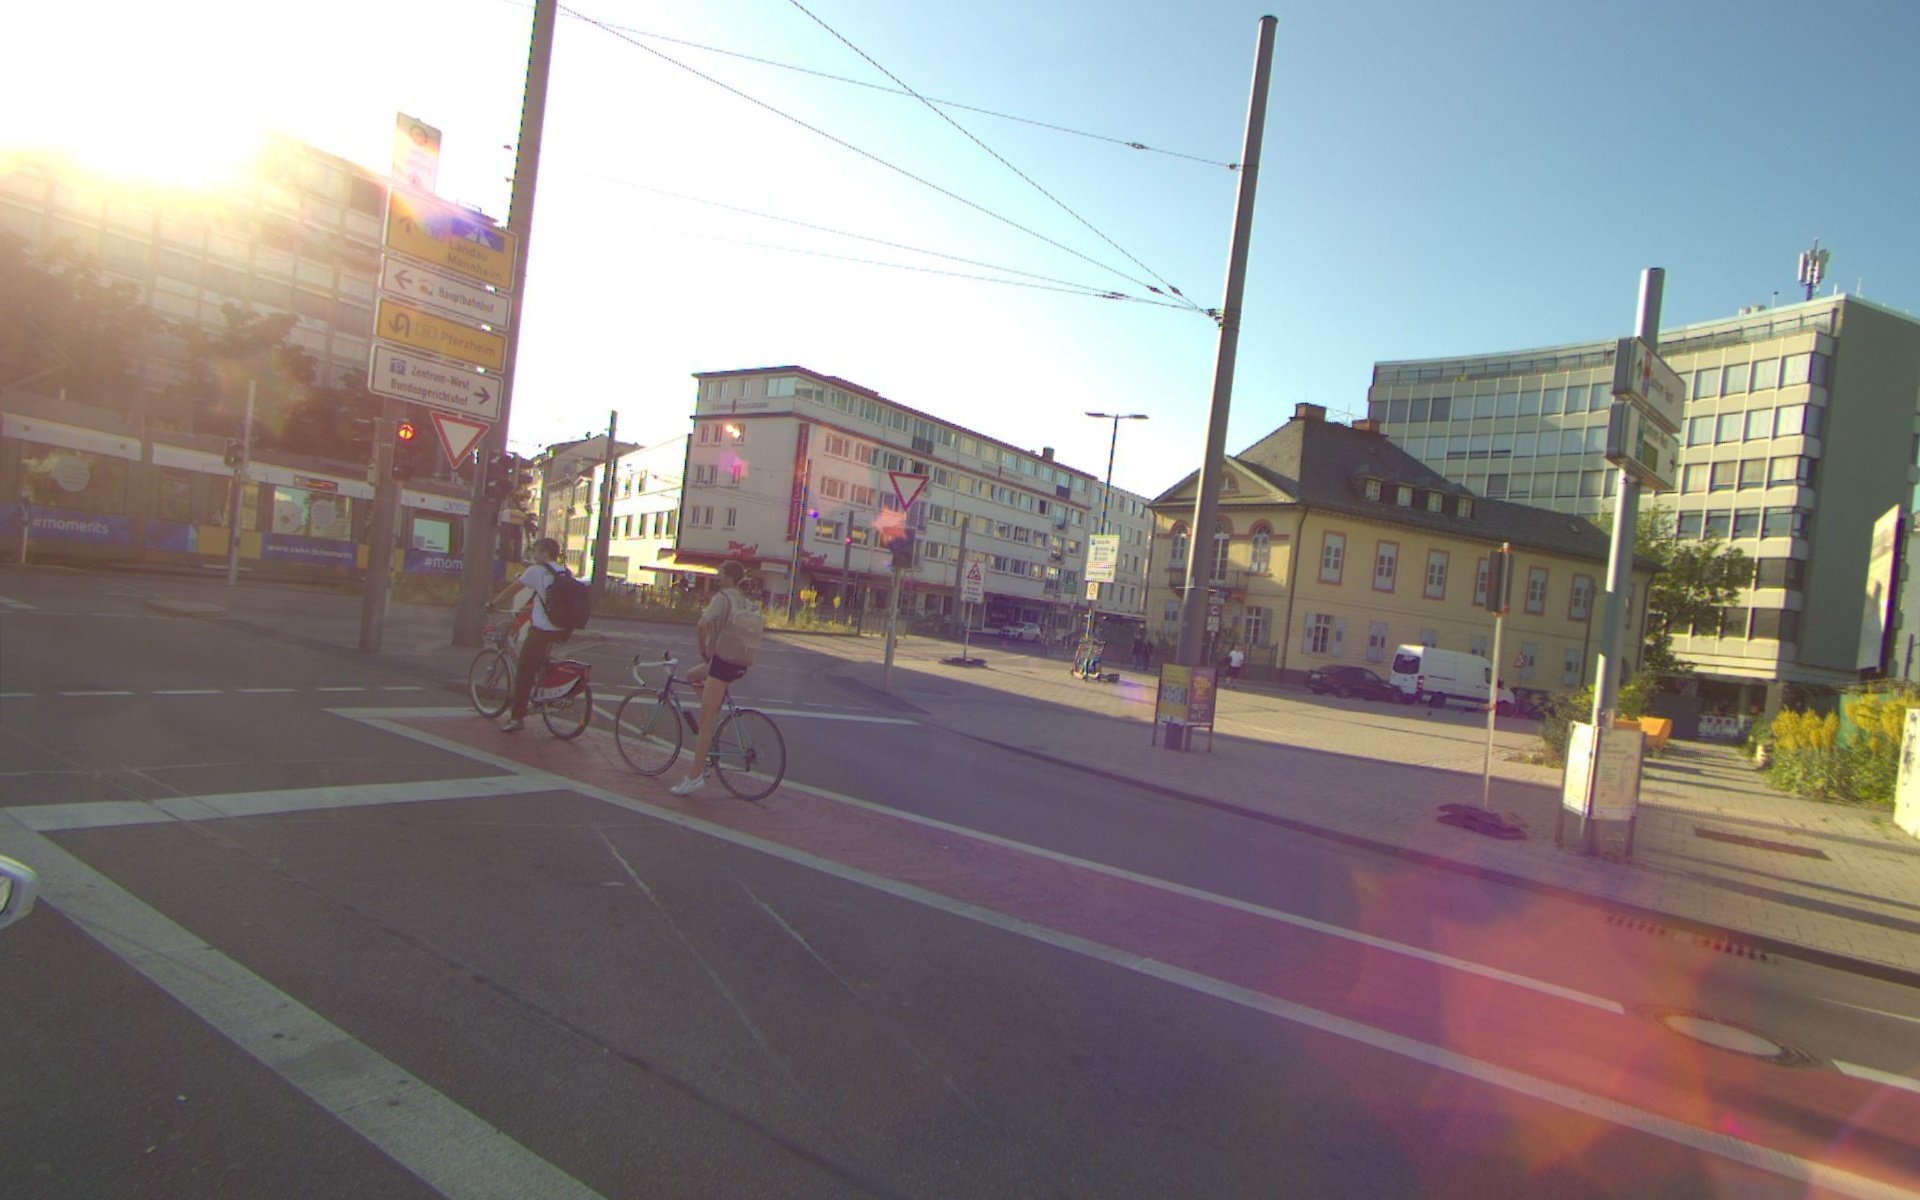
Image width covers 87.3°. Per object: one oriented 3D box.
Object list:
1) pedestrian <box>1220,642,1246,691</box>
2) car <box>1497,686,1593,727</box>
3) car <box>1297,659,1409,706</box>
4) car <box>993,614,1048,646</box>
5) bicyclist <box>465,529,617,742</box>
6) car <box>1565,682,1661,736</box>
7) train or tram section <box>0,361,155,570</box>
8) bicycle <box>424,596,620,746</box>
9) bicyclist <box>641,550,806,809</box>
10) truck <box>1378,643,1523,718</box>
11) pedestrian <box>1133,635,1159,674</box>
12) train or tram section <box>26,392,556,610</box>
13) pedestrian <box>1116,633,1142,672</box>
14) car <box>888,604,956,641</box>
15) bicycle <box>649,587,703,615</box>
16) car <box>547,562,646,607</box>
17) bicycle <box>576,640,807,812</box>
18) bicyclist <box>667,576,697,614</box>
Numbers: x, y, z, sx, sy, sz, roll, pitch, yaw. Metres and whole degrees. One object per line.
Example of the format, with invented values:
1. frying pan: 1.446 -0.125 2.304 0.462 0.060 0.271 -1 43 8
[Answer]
1. pedestrian: 10.403 2.537 38.381 0.746 1.783 1.009 7 -1 16
2. car: 27.091 4.924 46.590 3.706 1.380 1.709 8 -2 -17
3. car: 16.619 3.480 42.594 4.133 1.380 1.709 8 -2 -17
4. car: 5.038 2.503 83.391 1.970 2.036 4.858 6 -2 38
5. bicyclist: -3.818 0.316 9.177 1.042 1.789 0.543 7 -1 27
6. car: 31.149 5.202 47.978 3.706 2.003 1.709 8 -2 -17
7. train or tram section: -20.166 -2.858 16.436 3.648 3.880 12.973 7 0 -2
8. bicycle: -4.041 0.630 9.251 1.777 1.113 0.543 6 -1 27
9. bicyclist: -1.752 0.573 7.485 0.778 1.766 0.615 7 -1 27
10. truck: 21.830 3.573 44.808 5.556 2.578 2.294 8 -2 -17
11. pedestrian: 8.501 2.494 45.967 0.804 1.661 0.685 7 -1 -11
12. train or tram section: -18.048 -2.287 29.327 3.646 3.877 12.991 7 -2 19
13. pedestrian: 7.678 2.358 45.645 0.804 1.661 0.685 7 -1 -11
14. car: -2.660 1.620 71.641 1.970 2.036 4.858 6 -2 38
15. bicycle: -15.107 0.059 53.567 2.596 1.124 0.997 7 -2 22
16. car: -18.338 -0.746 51.006 1.965 1.669 4.453 7 -2 26
17. bicycle: -2.056 0.918 7.652 1.664 1.013 0.543 6 -1 27
18. bicyclist: -14.766 -0.274 53.448 0.860 1.864 0.997 7 -1 21
